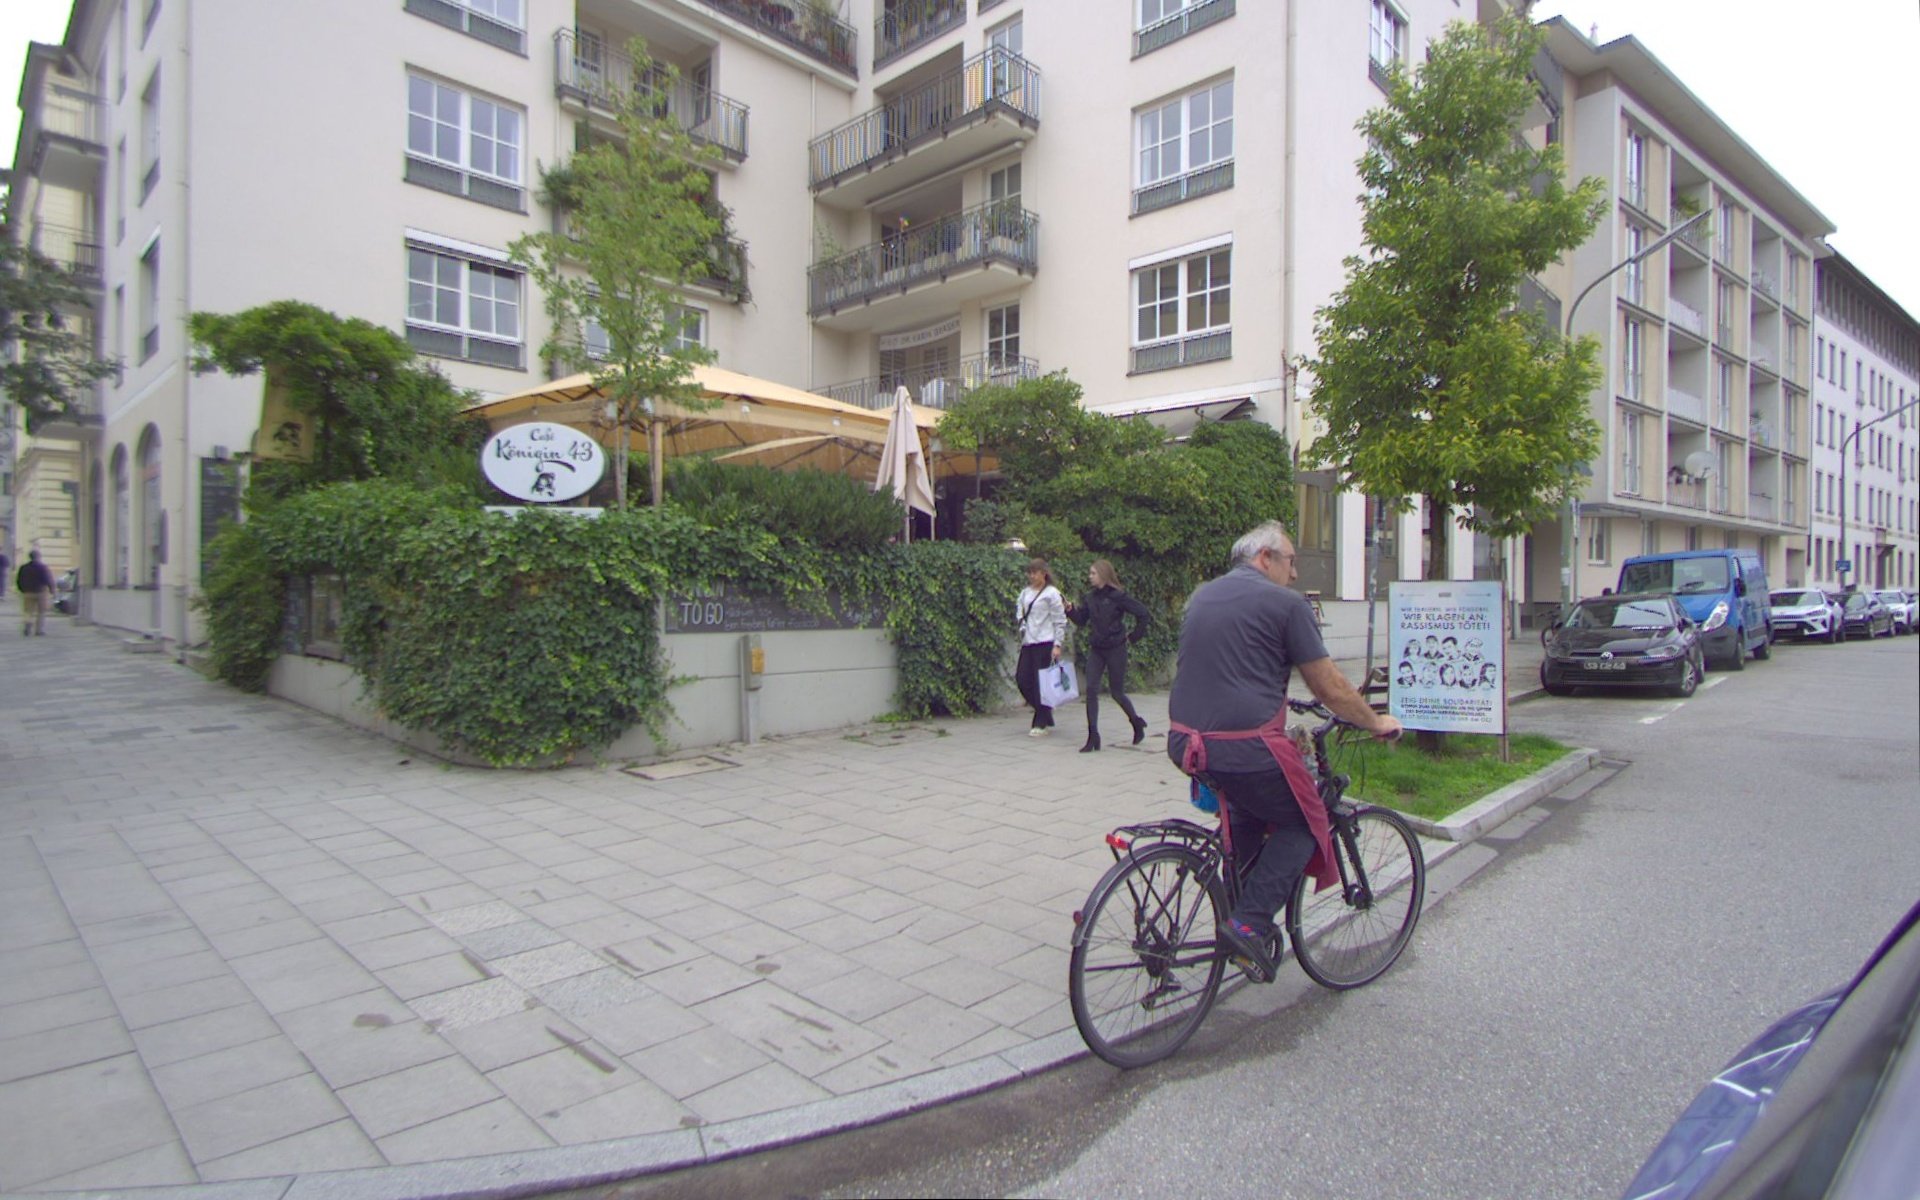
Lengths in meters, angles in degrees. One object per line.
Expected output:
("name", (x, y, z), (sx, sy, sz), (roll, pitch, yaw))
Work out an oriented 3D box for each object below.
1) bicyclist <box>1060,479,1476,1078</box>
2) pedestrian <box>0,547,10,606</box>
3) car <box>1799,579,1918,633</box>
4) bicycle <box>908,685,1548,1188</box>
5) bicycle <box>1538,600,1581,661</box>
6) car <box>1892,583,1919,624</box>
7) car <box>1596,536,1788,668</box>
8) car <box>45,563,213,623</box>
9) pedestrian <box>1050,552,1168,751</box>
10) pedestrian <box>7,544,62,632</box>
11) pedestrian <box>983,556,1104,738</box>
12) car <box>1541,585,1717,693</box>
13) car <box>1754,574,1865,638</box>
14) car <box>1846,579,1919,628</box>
("bicyclist", (1.022, 0.480, 3.409), (1.029, 1.629, 0.878), (1, 0, -35))
("pedestrian", (-33.665, -0.832, 35.275), (0.829, 2.039, 0.744), (1, 0, 44))
("car", (27.034, 0.182, 30.396), (4.607, 1.448, 1.776), (0, -4, -38))
("bicycle", (0.975, 0.887, 3.394), (2.148, 1.032, 0.879), (0, 1, -34))
("bicycle", (11.357, 0.549, 19.149), (0.563, 1.083, 1.764), (1, 1, 35))
("car", (35.159, 0.121, 36.290), (4.408, 1.399, 1.831), (0, -2, -38))
("car", (14.442, -0.008, 19.846), (4.947, 2.242, 2.109), (-3, -2, -44))
("car", (-22.715, -0.199, 27.718), (1.572, 1.549, 3.425), (1, 1, 45))
("pedestrian", (1.318, 0.409, 8.927), (0.678, 1.648, 0.817), (2, 2, 42))
("pedestrian", (-18.859, -0.248, 20.619), (0.829, 1.735, 0.776), (1, 0, 44))
("pedestrian", (0.793, 0.398, 9.601), (0.807, 1.626, 0.817), (2, 2, 43))
("car", (10.213, 0.530, 15.319), (1.712, 1.412, 3.942), (-4, -2, 40))
("car", (23.004, 0.191, 27.356), (4.232, 1.543, 1.776), (1, -4, -44))
("car", (30.999, 0.109, 33.591), (4.047, 1.488, 1.704), (0, -3, -40))
